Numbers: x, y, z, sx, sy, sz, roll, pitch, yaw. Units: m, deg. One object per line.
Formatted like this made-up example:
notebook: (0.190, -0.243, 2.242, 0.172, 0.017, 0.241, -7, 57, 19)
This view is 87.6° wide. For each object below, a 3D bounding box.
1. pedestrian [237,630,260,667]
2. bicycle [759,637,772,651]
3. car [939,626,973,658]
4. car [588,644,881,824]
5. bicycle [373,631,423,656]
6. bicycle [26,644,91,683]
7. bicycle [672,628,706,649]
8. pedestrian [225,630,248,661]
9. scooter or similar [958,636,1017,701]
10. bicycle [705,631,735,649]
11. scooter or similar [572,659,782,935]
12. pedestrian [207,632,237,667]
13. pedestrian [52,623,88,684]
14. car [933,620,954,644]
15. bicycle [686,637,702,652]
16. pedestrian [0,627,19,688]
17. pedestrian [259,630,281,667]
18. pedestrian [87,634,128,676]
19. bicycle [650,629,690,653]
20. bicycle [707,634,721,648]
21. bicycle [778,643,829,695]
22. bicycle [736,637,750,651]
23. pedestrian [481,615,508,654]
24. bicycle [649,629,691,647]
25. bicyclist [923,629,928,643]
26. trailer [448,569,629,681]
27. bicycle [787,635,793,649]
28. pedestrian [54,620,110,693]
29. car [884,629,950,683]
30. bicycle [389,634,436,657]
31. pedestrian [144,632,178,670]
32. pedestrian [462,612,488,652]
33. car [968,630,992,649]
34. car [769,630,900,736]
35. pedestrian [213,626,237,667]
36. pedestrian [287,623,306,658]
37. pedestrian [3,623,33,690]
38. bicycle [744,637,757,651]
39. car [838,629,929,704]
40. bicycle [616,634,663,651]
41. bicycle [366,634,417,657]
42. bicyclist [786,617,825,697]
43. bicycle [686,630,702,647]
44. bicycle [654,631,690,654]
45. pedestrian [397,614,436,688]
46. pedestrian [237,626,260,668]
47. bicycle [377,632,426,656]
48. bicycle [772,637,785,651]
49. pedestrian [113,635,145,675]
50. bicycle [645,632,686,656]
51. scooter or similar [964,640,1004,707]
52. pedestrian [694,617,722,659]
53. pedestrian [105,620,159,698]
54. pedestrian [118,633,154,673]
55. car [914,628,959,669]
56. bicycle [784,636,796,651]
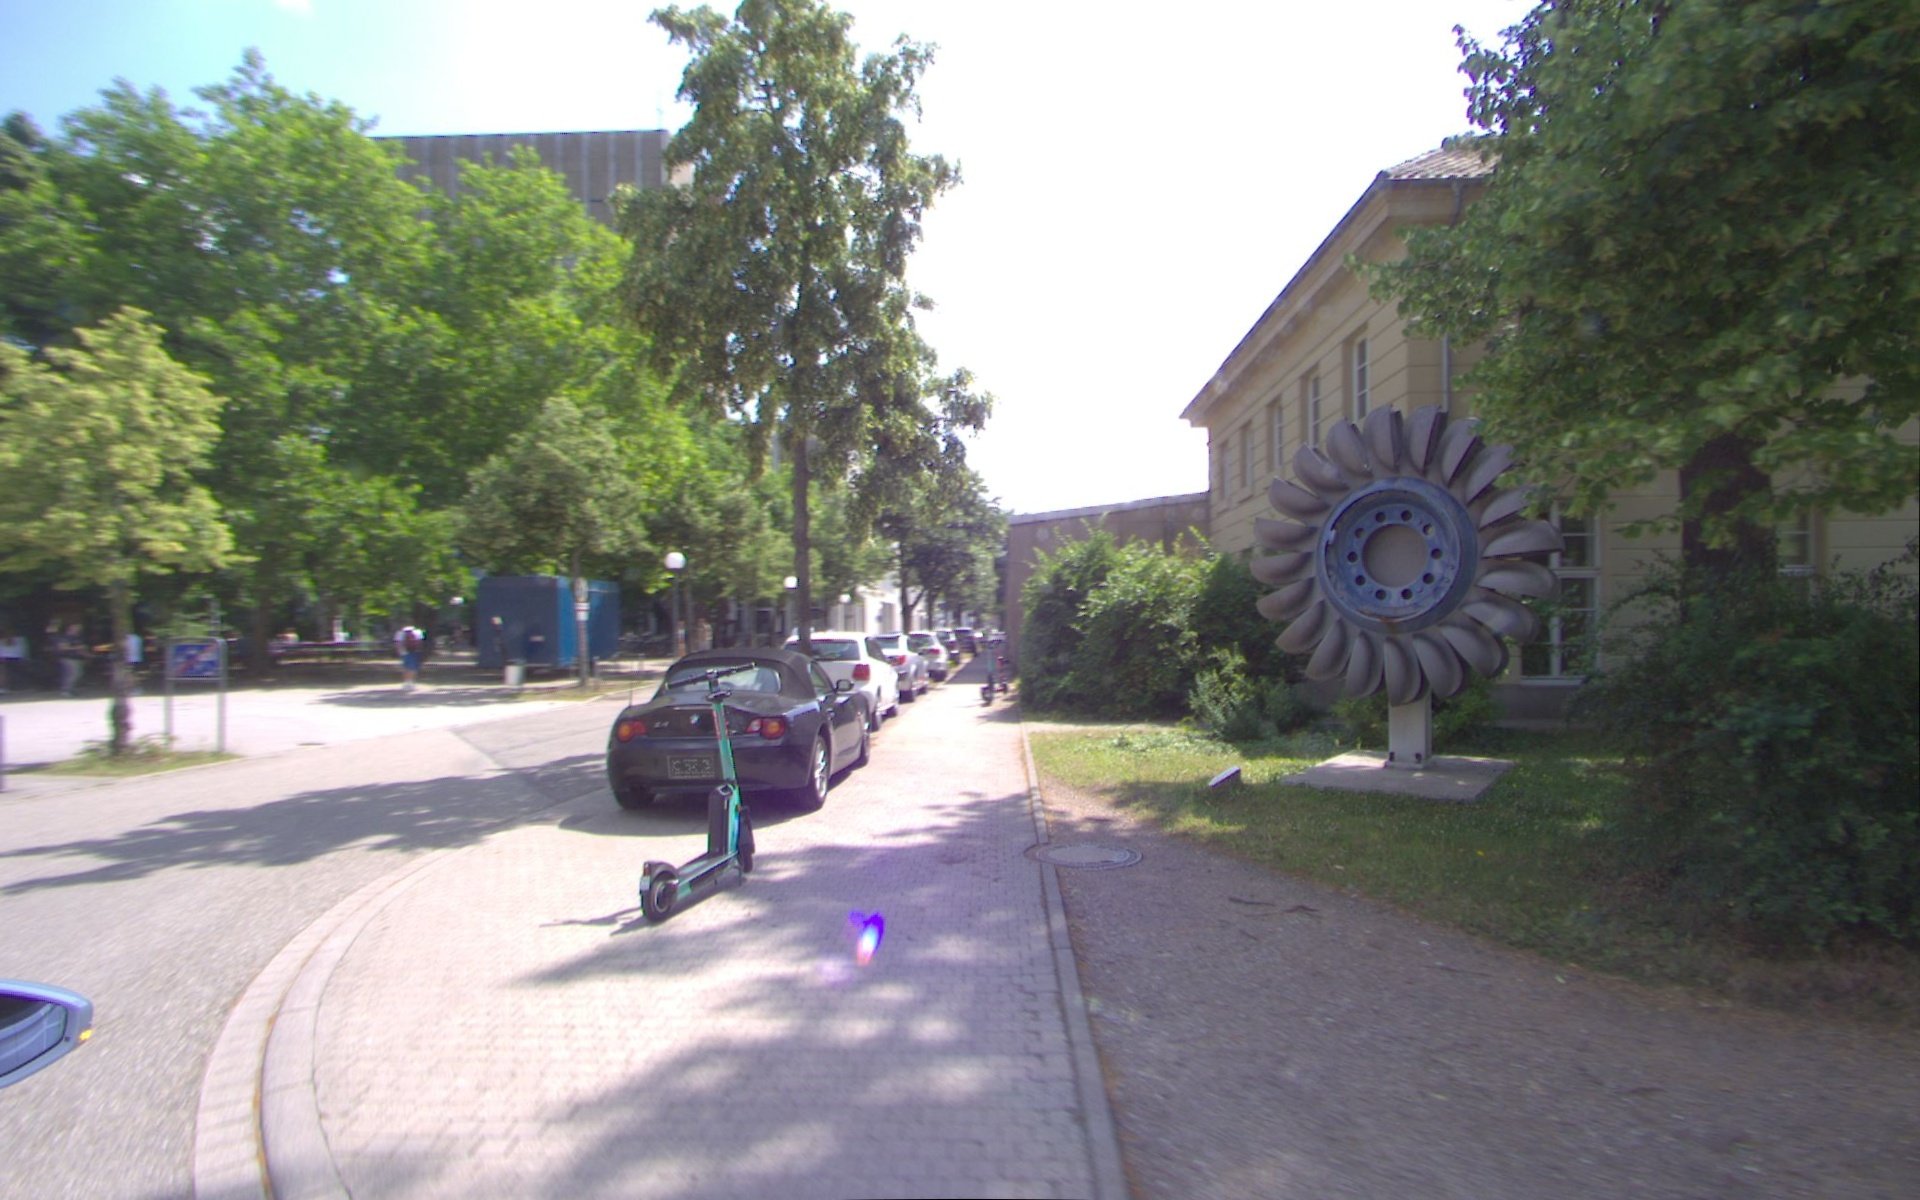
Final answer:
pedestrian: (-25.084, 1.699, 35.326, 0.587, 1.250, 0.738, 1, 1, -31)
bicycle: (-15.334, 3.467, 79.074, 0.543, 1.100, 1.974, 2, -2, 3)
car: (-0.168, 2.392, 57.124, 1.793, 1.684, 4.587, -2, -3, 1)
car: (-1.879, 1.099, 9.594, 1.680, 1.296, 4.001, 0, -2, 4)
bicycle: (-26.376, 2.050, 46.978, 1.976, 1.133, 0.585, 0, -1, -6)
bicycle: (-25.688, 1.814, 28.566, 1.336, 1.090, 0.413, 2, -4, -41)
bicycle: (-19.450, 2.769, 71.969, 2.258, 1.468, 0.604, 1, -1, -30)
pedestrian: (-28.340, 1.776, 39.232, 0.385, 1.209, 0.730, 1, -1, -7)
scooter or similar: (0.596, 1.430, 21.251, 0.590, 1.283, 1.256, -1, 1, 40)
bicycle: (-17.520, 2.925, 73.078, 1.991, 1.270, 0.584, 0, -1, -30)
scooter or similar: (-1.481, 0.977, 5.477, 0.544, 1.270, 1.382, 0, -2, 11)
pedestrian: (-27.213, 1.809, 36.922, 0.559, 1.266, 0.767, 1, -1, -9)
pedestrian: (-24.820, 1.489, 27.918, 0.670, 1.672, 0.499, 2, 0, -37)
car: (-1.774, 3.444, 108.555, 2.050, 2.572, 4.317, 1, -1, 2)
bicycle: (-20.965, 3.499, 78.949, 0.543, 1.100, 1.974, 2, -2, 3)
pedestrian: (-25.476, 1.527, 26.638, 0.599, 1.614, 0.409, 2, 0, -39)
pedestrian: (-24.537, 1.714, 35.608, 0.587, 1.250, 0.738, 1, 1, -31)
pedestrian: (-27.983, 1.793, 32.864, 0.676, 1.340, 0.778, 0, -1, 4)
bicycle: (-15.759, 2.231, 54.482, 2.024, 1.250, 0.808, 2, -1, -15)
bicycle: (-18.721, 3.100, 76.277, 0.468, 1.045, 1.851, 0, -2, 3)
bicycle: (-3.972, 1.732, 25.662, 0.868, 1.215, 2.750, 0, -2, 0)
bicycle: (-17.038, 3.459, 78.756, 0.543, 1.100, 1.974, 2, -2, 3)
pedestrian: (-23.745, 1.762, 51.080, 0.881, 1.973, 0.914, 1, -1, 40)
bicycle: (-16.123, 2.113, 55.651, 2.121, 1.021, 0.675, 1, -1, -27)
bicyclist: (-5.059, 5.248, 146.059, 0.700, 2.039, 1.019, -1, -1, 0)
trailer: (-12.736, 0.785, 30.905, 2.652, 3.065, 6.269, 1, -1, 3)
bicycle: (-12.228, 3.018, 72.142, 0.375, 1.039, 1.815, 0, -2, -9)
pedestrian: (-21.233, 1.372, 24.238, 0.482, 1.741, 0.877, -2, -3, 30)
car: (-1.213, 1.629, 30.332, 1.697, 1.486, 4.673, -1, -2, 1)
bicycle: (-27.772, 2.308, 50.802, 1.976, 1.133, 0.585, 0, -1, -6)
pedestrian: (-26.947, 1.715, 33.790, 0.551, 1.288, 0.693, 1, -1, 3)
pedestrian: (-24.498, 1.617, 50.580, 0.842, 1.973, 0.817, 1, -1, 40)
car: (1.622, 3.176, 80.845, 1.752, 1.495, 4.463, -2, -2, 2)
car: (-1.873, 1.221, 16.017, 1.561, 1.485, 3.990, 0, -2, 0)
pedestrian: (-25.423, 1.604, 34.625, 0.587, 1.387, 0.700, 1, 1, -31)
pedestrian: (-27.993, 1.707, 42.229, 0.497, 1.441, 0.460, 1, -1, -7)
pedestrian: (-24.923, 1.486, 26.497, 0.525, 1.733, 0.444, 2, 0, -41)
bicycle: (-16.479, 3.457, 78.793, 0.543, 1.100, 1.974, 2, -2, 3)
car: (-1.584, 1.378, 21.806, 1.619, 1.408, 3.989, -1, -1, 0)
bicycle: (-20.237, 2.690, 63.216, 2.704, 1.015, 0.875, 2, -2, -40)
bicycle: (-26.126, 2.100, 46.024, 1.976, 1.021, 0.585, 0, -1, -6)
bicyclist: (-3.962, 1.457, 25.802, 0.859, 2.039, 0.850, 0, -1, 0)
bicycle: (-20.845, 3.002, 78.480, 0.517, 1.269, 2.382, -1, -1, 4)
bicycle: (-14.853, 2.189, 51.731, 1.747, 1.146, 0.458, 1, -1, -15)
pedestrian: (-14.038, 1.295, 25.871, 0.841, 1.860, 0.874, 1, 1, -28)
pedestrian: (-24.534, 1.618, 34.548, 0.587, 1.387, 0.738, 1, 1, -31)
bicycle: (-26.630, 2.103, 47.784, 1.976, 1.133, 0.585, 0, -1, -6)
bicycle: (-14.254, 3.437, 78.721, 0.543, 1.100, 1.974, 2, -2, 3)
pedestrian: (-28.105, 1.861, 33.872, 0.634, 1.340, 0.559, 0, -1, 4)
bicycle: (-15.635, 2.317, 53.193, 2.023, 1.250, 0.808, 1, -1, -15)
scooter or similar: (0.466, 1.390, 19.197, 0.512, 1.237, 1.235, -1, -1, 13)
pedestrian: (-12.056, 1.821, 47.873, 0.903, 1.979, 0.892, 2, -1, 13)
pedestrian: (-19.927, 1.412, 24.103, 0.443, 1.842, 0.877, -2, -3, 30)
pedestrian: (-27.004, 1.722, 32.819, 0.551, 1.288, 0.693, 1, -1, 3)
car: (-0.925, 1.981, 41.669, 1.676, 1.594, 4.142, -1, -2, 1)
bicycle: (-13.328, 3.414, 78.480, 0.543, 1.100, 1.974, 2, -2, 3)
